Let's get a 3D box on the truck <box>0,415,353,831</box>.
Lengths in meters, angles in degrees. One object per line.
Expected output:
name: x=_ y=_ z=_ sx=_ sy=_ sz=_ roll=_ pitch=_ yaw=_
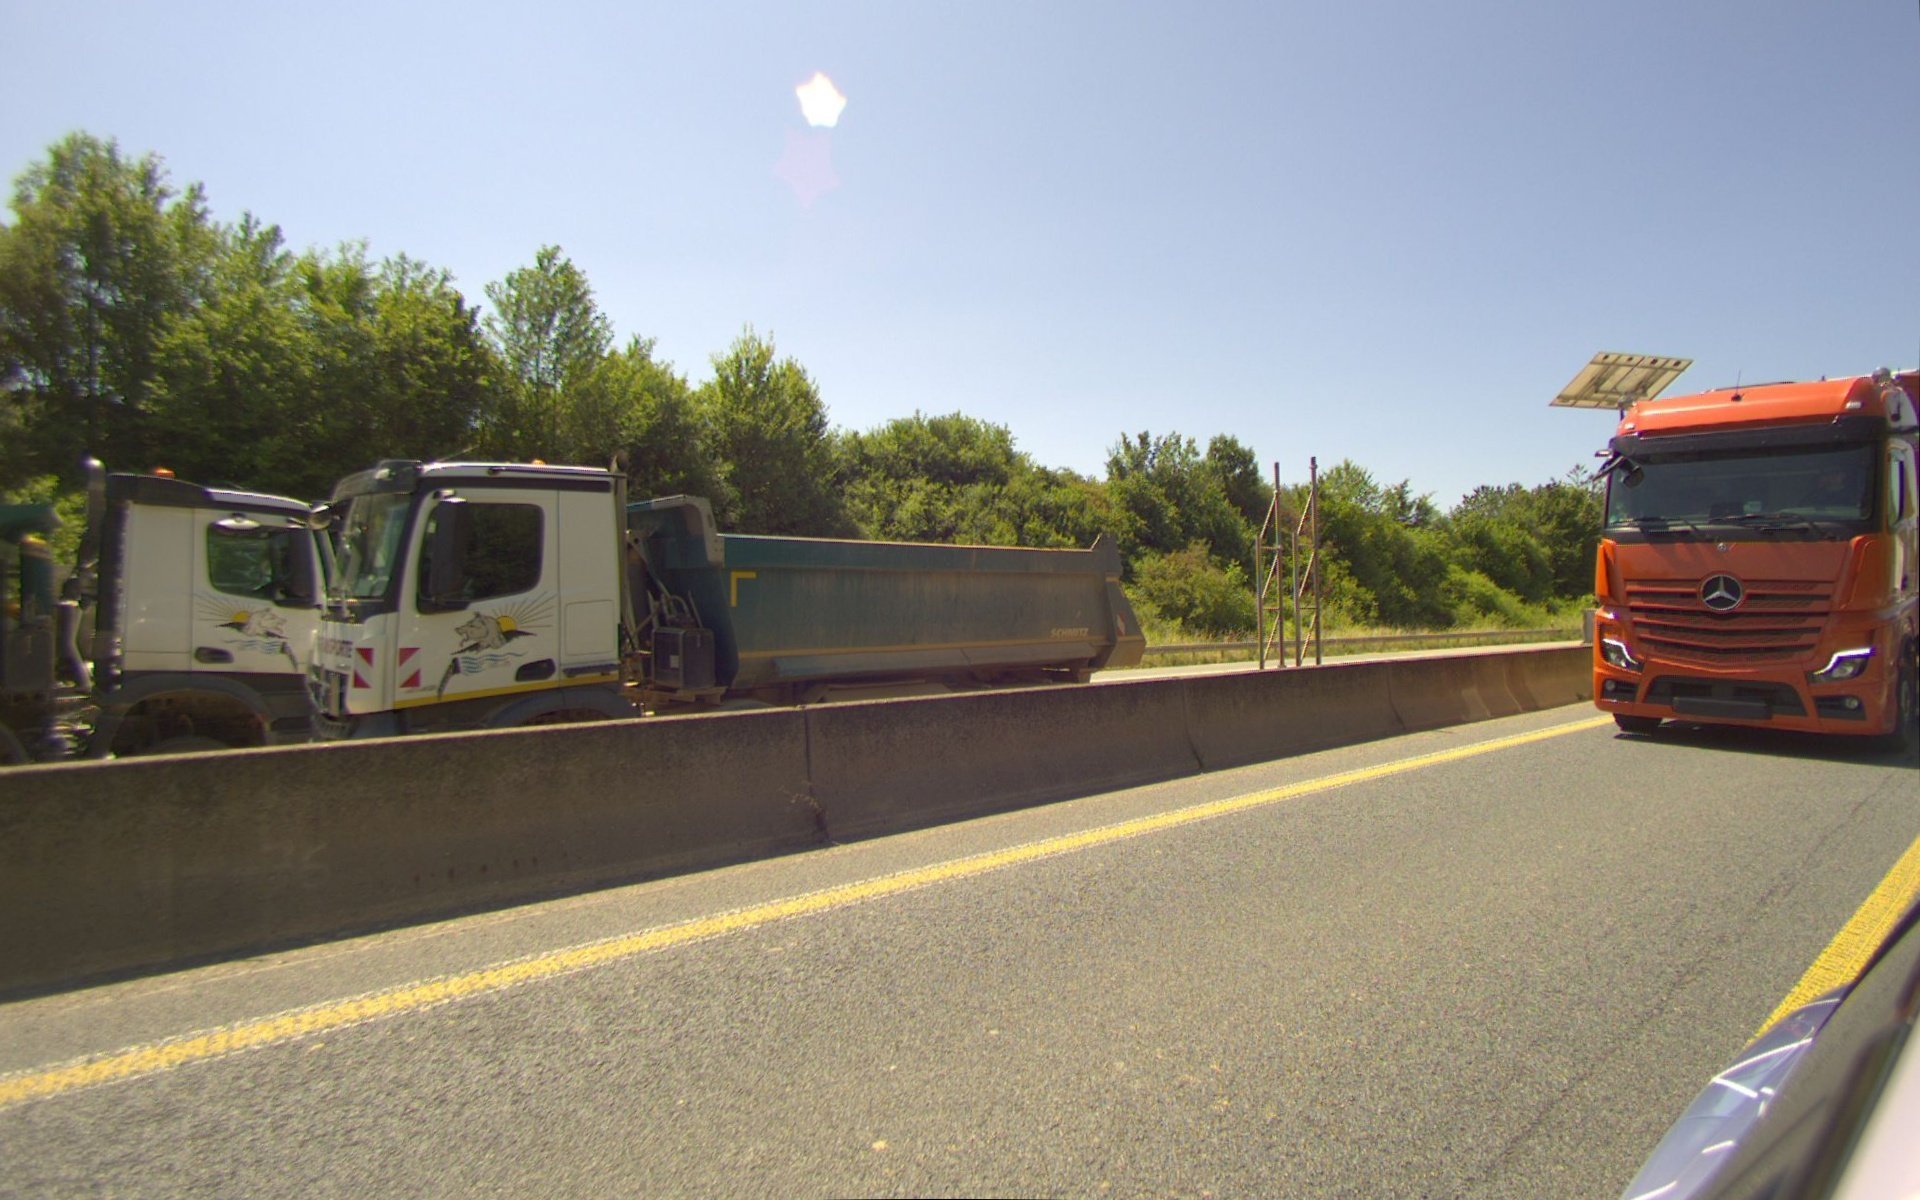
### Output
truck: x=-10.206 y=0.201 z=8.693 sx=8.234 sy=3.556 sz=2.691 roll=0 pitch=0 yaw=-41

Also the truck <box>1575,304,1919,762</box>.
truck: x=10.107 y=-0.626 z=12.153 sx=6.607 sy=4.061 sz=2.687 roll=-1 pitch=0 yaw=-40

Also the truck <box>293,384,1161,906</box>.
truck: x=-1.637 y=0.296 z=10.829 sx=8.938 sy=3.556 sz=2.537 roll=0 pitch=0 yaw=-41

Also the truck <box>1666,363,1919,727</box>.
truck: x=14.936 y=-0.669 z=16.329 sx=12.988 sy=4.061 sz=2.686 roll=-1 pitch=0 yaw=-41
